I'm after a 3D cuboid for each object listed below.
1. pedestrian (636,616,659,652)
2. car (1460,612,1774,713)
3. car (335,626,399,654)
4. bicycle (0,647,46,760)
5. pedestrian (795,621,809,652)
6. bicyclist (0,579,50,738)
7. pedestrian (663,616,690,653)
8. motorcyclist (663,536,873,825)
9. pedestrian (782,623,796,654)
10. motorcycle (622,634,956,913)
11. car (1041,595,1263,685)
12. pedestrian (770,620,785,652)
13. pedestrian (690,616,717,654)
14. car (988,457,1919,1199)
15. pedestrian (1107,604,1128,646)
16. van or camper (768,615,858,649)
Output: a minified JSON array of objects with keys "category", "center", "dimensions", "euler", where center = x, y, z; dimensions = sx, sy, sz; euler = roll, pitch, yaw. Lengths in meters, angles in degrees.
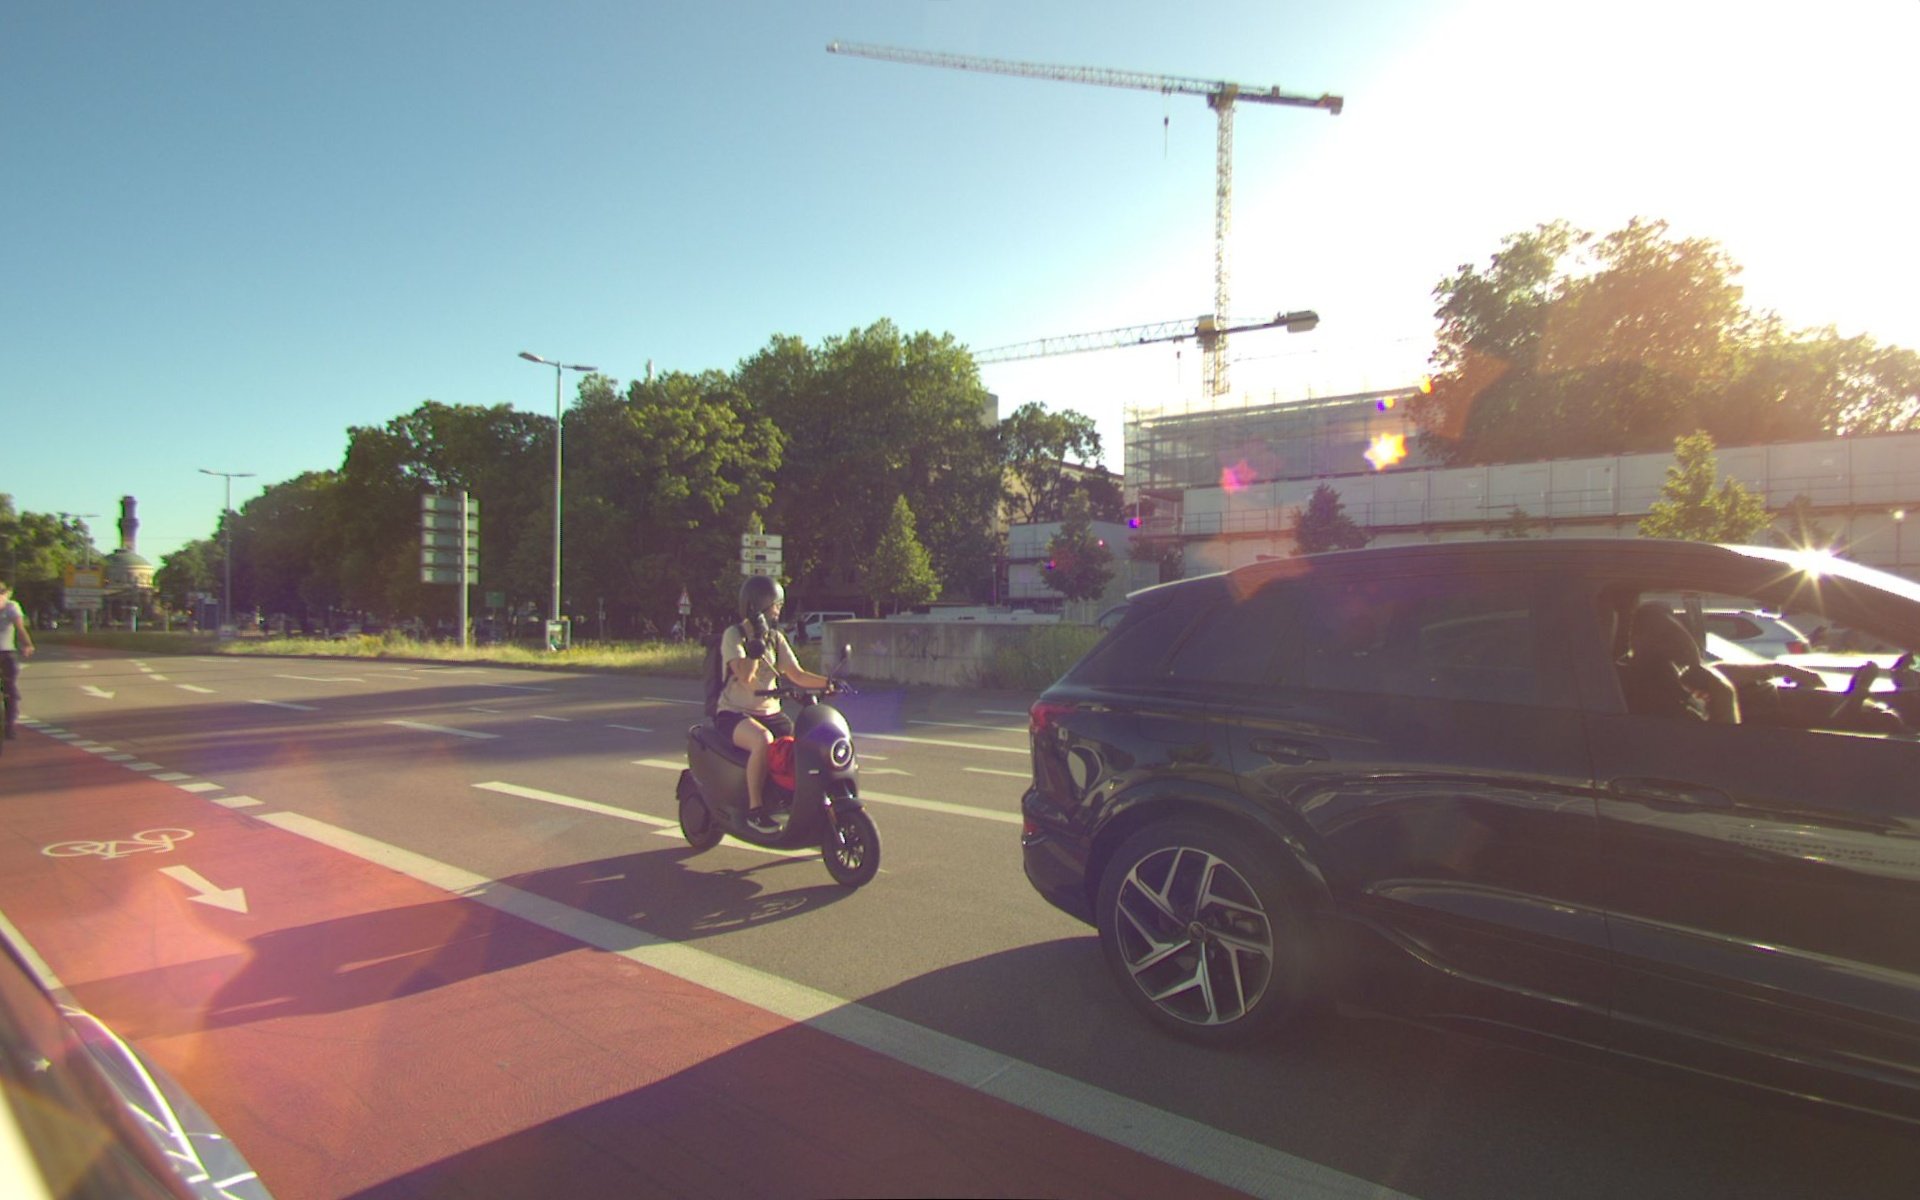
[{"category":"pedestrian","center":[-17.880,1.939,57.999],"dimensions":[0.948,2.029,0.836],"euler":[-1,0,15]},{"category":"car","center":[10.225,0.909,15.909],"dimensions":[3.941,1.387,1.705],"euler":[-1,-2,41]},{"category":"car","center":[-32.562,2.182,55.544],"dimensions":[3.979,1.492,1.857],"euler":[-1,-2,41]},{"category":"bicycle","center":[-10.774,1.114,11.209],"dimensions":[1.890,1.156,0.731],"euler":[-1,-2,41]},{"category":"pedestrian","center":[-7.872,1.804,50.406],"dimensions":[0.494,1.522,0.492],"euler":[-1,-2,41]},{"category":"bicyclist","center":[-10.712,0.639,11.225],"dimensions":[0.851,1.713,0.797],"euler":[-1,-2,41]},{"category":"pedestrian","center":[-15.600,1.904,55.690],"dimensions":[1.054,1.978,0.942],"euler":[-1,0,26]},{"category":"motorcyclist","center":[-1.094,0.425,5.779],"dimensions":[0.877,1.475,0.813],"euler":[-1,-2,41]},{"category":"pedestrian","center":[-8.409,1.907,49.836],"dimensions":[0.494,1.522,0.492],"euler":[-1,-2,41]},{"category":"motorcycle","center":[-1.014,0.843,5.701],"dimensions":[1.943,1.290,0.817],"euler":[-1,-2,41]},{"category":"car","center":[4.508,0.928,24.231],"dimensions":[4.925,1.937,1.863],"euler":[-1,-2,39]},{"category":"pedestrian","center":[-8.827,1.742,48.923],"dimensions":[0.494,1.522,0.492],"euler":[-1,-2,41]},{"category":"pedestrian","center":[-13.602,1.832,53.722],"dimensions":[0.815,1.978,1.111],"euler":[-1,0,41]},{"category":"car","center":[2.582,0.550,3.185],"dimensions":[4.660,1.720,2.144],"euler":[-1,-1,39]},{"category":"pedestrian","center":[6.125,0.953,39.408],"dimensions":[0.597,1.614,0.580],"euler":[-1,0,38]},{"category":"van or camper","center":[-8.954,1.932,61.892],"dimensions":[1.951,1.960,5.425],"euler":[-2,-2,44]}]
